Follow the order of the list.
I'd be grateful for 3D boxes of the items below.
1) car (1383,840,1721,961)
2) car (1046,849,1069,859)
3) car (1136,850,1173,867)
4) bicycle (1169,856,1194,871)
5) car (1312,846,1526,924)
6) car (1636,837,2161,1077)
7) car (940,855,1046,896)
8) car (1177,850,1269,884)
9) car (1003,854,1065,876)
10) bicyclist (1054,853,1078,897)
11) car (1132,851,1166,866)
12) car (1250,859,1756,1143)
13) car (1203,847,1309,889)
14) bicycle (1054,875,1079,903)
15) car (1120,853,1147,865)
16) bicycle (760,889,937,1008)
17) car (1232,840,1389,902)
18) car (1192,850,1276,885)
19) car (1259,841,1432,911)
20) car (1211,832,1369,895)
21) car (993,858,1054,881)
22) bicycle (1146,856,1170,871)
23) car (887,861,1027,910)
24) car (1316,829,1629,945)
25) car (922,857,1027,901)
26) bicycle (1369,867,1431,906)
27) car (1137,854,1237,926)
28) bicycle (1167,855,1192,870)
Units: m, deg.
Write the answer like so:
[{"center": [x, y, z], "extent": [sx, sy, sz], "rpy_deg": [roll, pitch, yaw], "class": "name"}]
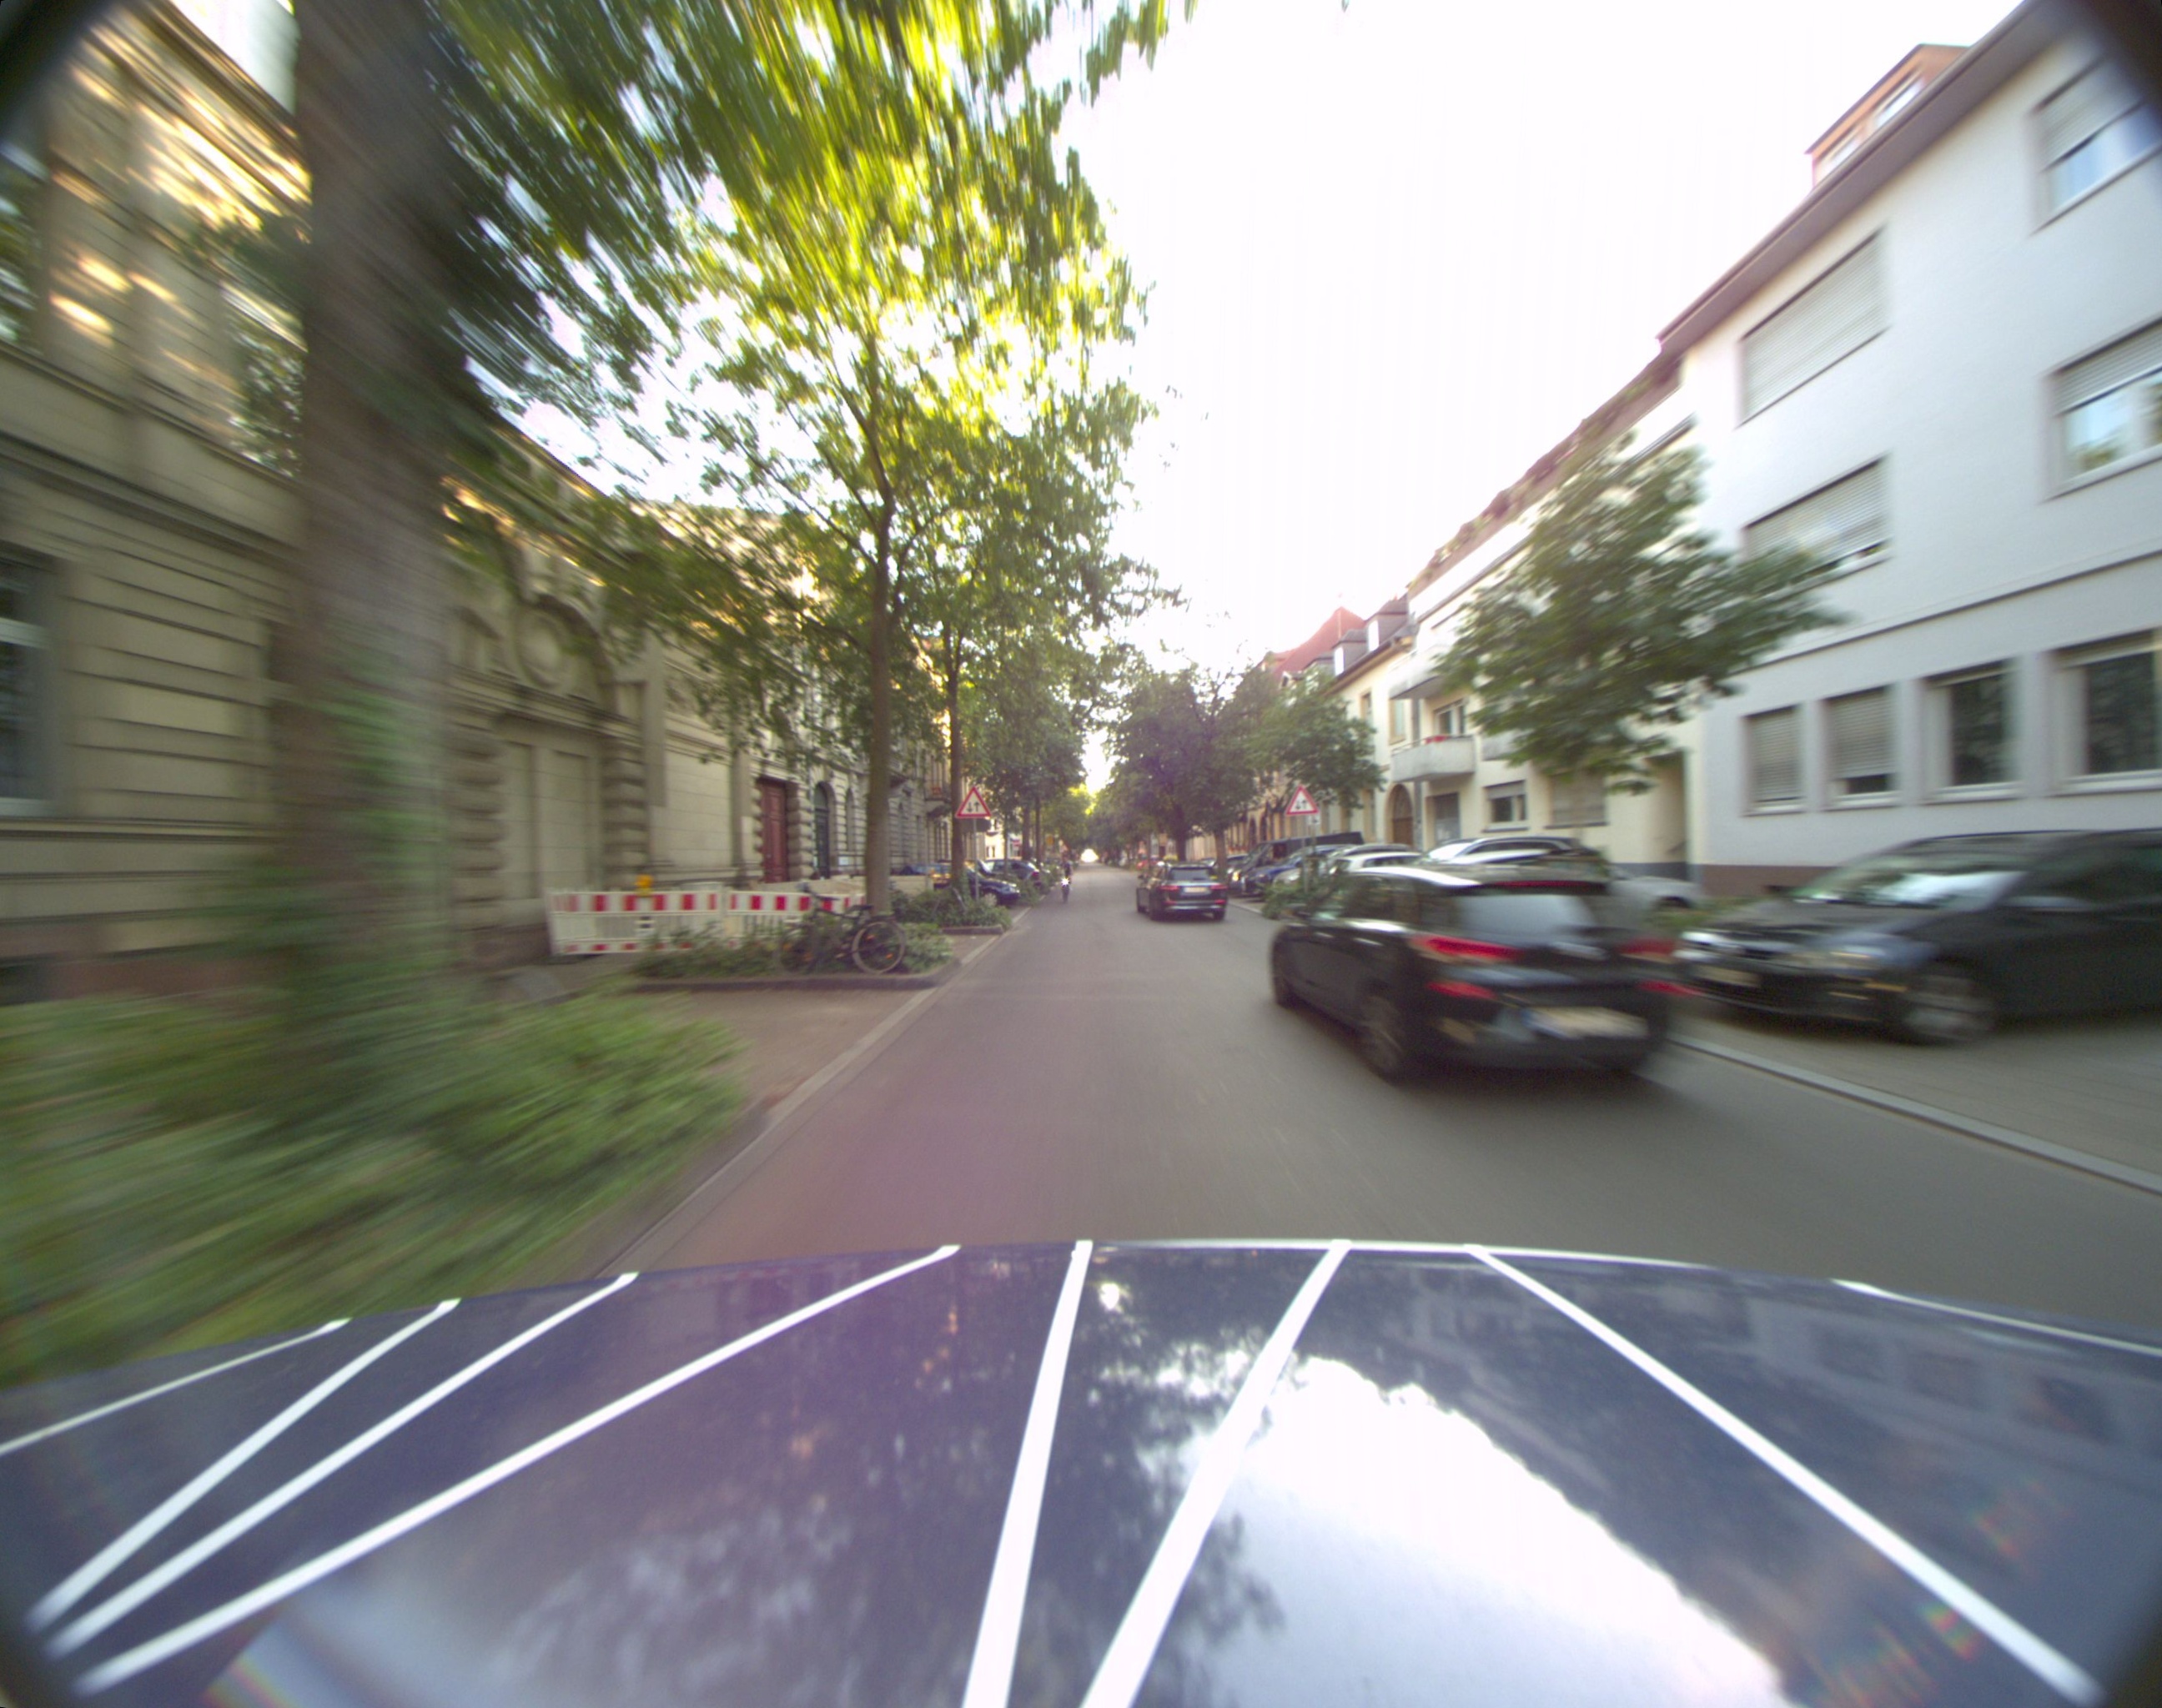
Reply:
[{"center": [7.104, 0.678, 11.815], "extent": [4.038, 1.485, 1.781], "rpy_deg": [-4, 0, 4], "class": "car"}, {"center": [-3.806, 0.013, 122.070], "extent": [3.552, 1.411, 1.590], "rpy_deg": [-4, 0, 1], "class": "car"}, {"center": [7.556, 0.465, 78.218], "extent": [3.497, 1.397, 1.673], "rpy_deg": [-4, 0, -2], "class": "car"}, {"center": [8.107, 0.793, 61.534], "extent": [1.869, 1.093, 0.509], "rpy_deg": [-4, 1, -6], "class": "bicycle"}, {"center": [7.372, 0.669, 16.858], "extent": [3.855, 1.442, 1.855], "rpy_deg": [-3, -1, 0], "class": "car"}, {"center": [7.180, 0.701, 6.096], "extent": [4.085, 1.432, 1.755], "rpy_deg": [-4, 0, 1], "class": "car"}, {"center": [-3.847, 0.943, 33.918], "extent": [4.451, 1.708, 1.968], "rpy_deg": [-1, 1, 0], "class": "car"}, {"center": [7.401, 0.663, 39.847], "extent": [4.436, 1.399, 1.717], "rpy_deg": [-4, 1, -3], "class": "car"}, {"center": [-3.544, 0.855, 58.014], "extent": [4.420, 1.552, 1.867], "rpy_deg": [1, 0, 7], "class": "car"}, {"center": [-0.580, 0.779, 29.027], "extent": [0.753, 1.612, 1.147], "rpy_deg": [-3, 1, 3], "class": "bicyclist"}, {"center": [7.729, 0.551, 86.550], "extent": [3.552, 1.411, 1.590], "rpy_deg": [-4, 0, -2], "class": "car"}, {"center": [2.831, 0.835, 6.374], "extent": [1.881, 1.540, 4.275], "rpy_deg": [0, 0, 0], "class": "car"}, {"center": [7.912, 0.625, 34.602], "extent": [4.365, 1.530, 1.771], "rpy_deg": [-4, 1, 0], "class": "car"}, {"center": [-0.545, 1.328, 29.087], "extent": [0.778, 0.967, 2.025], "rpy_deg": [-2, 0, 3], "class": "bicycle"}, {"center": [7.244, 0.708, 105.381], "extent": [3.552, 1.411, 1.590], "rpy_deg": [-4, 0, 1], "class": "car"}, {"center": [-2.971, 1.195, 9.810], "extent": [2.051, 1.352, 0.508], "rpy_deg": [-3, 0, -2], "class": "bicycle"}, {"center": [7.296, 0.522, 24.455], "extent": [4.365, 1.563, 1.930], "rpy_deg": [-5, 0, 0], "class": "car"}, {"center": [7.430, 0.645, 37.112], "extent": [3.693, 1.441, 1.659], "rpy_deg": [-4, 0, 0], "class": "car"}, {"center": [7.372, 0.596, 21.462], "extent": [4.165, 1.582, 1.823], "rpy_deg": [-5, 0, 0], "class": "car"}, {"center": [7.368, 0.334, 27.183], "extent": [5.003, 1.979, 2.189], "rpy_deg": [-2, 0, 0], "class": "car"}, {"center": [-3.806, 0.995, 50.664], "extent": [3.875, 1.419, 1.781], "rpy_deg": [1, 0, -1], "class": "car"}, {"center": [6.414, 0.800, 63.268], "extent": [1.869, 1.092, 0.480], "rpy_deg": [-4, 1, -6], "class": "bicycle"}, {"center": [-3.980, 1.012, 24.856], "extent": [4.234, 1.472, 1.854], "rpy_deg": [1, 0, 0], "class": "car"}, {"center": [7.111, 0.574, 14.223], "extent": [4.677, 1.755, 2.156], "rpy_deg": [-3, 0, 0], "class": "car"}, {"center": [-4.351, 0.996, 31.446], "extent": [4.018, 1.677, 1.765], "rpy_deg": [-1, 0, 0], "class": "car"}, {"center": [8.002, 0.792, 19.150], "extent": [0.748, 0.868, 1.814], "rpy_deg": [-3, 0, -1], "class": "bicycle"}, {"center": [2.628, 0.835, 19.847], "extent": [1.882, 1.631, 4.645], "rpy_deg": [-1, 0, -1], "class": "car"}, {"center": [7.895, 0.711, 60.823], "extent": [1.869, 1.093, 0.480], "rpy_deg": [-4, 1, -6], "class": "bicycle"}]
